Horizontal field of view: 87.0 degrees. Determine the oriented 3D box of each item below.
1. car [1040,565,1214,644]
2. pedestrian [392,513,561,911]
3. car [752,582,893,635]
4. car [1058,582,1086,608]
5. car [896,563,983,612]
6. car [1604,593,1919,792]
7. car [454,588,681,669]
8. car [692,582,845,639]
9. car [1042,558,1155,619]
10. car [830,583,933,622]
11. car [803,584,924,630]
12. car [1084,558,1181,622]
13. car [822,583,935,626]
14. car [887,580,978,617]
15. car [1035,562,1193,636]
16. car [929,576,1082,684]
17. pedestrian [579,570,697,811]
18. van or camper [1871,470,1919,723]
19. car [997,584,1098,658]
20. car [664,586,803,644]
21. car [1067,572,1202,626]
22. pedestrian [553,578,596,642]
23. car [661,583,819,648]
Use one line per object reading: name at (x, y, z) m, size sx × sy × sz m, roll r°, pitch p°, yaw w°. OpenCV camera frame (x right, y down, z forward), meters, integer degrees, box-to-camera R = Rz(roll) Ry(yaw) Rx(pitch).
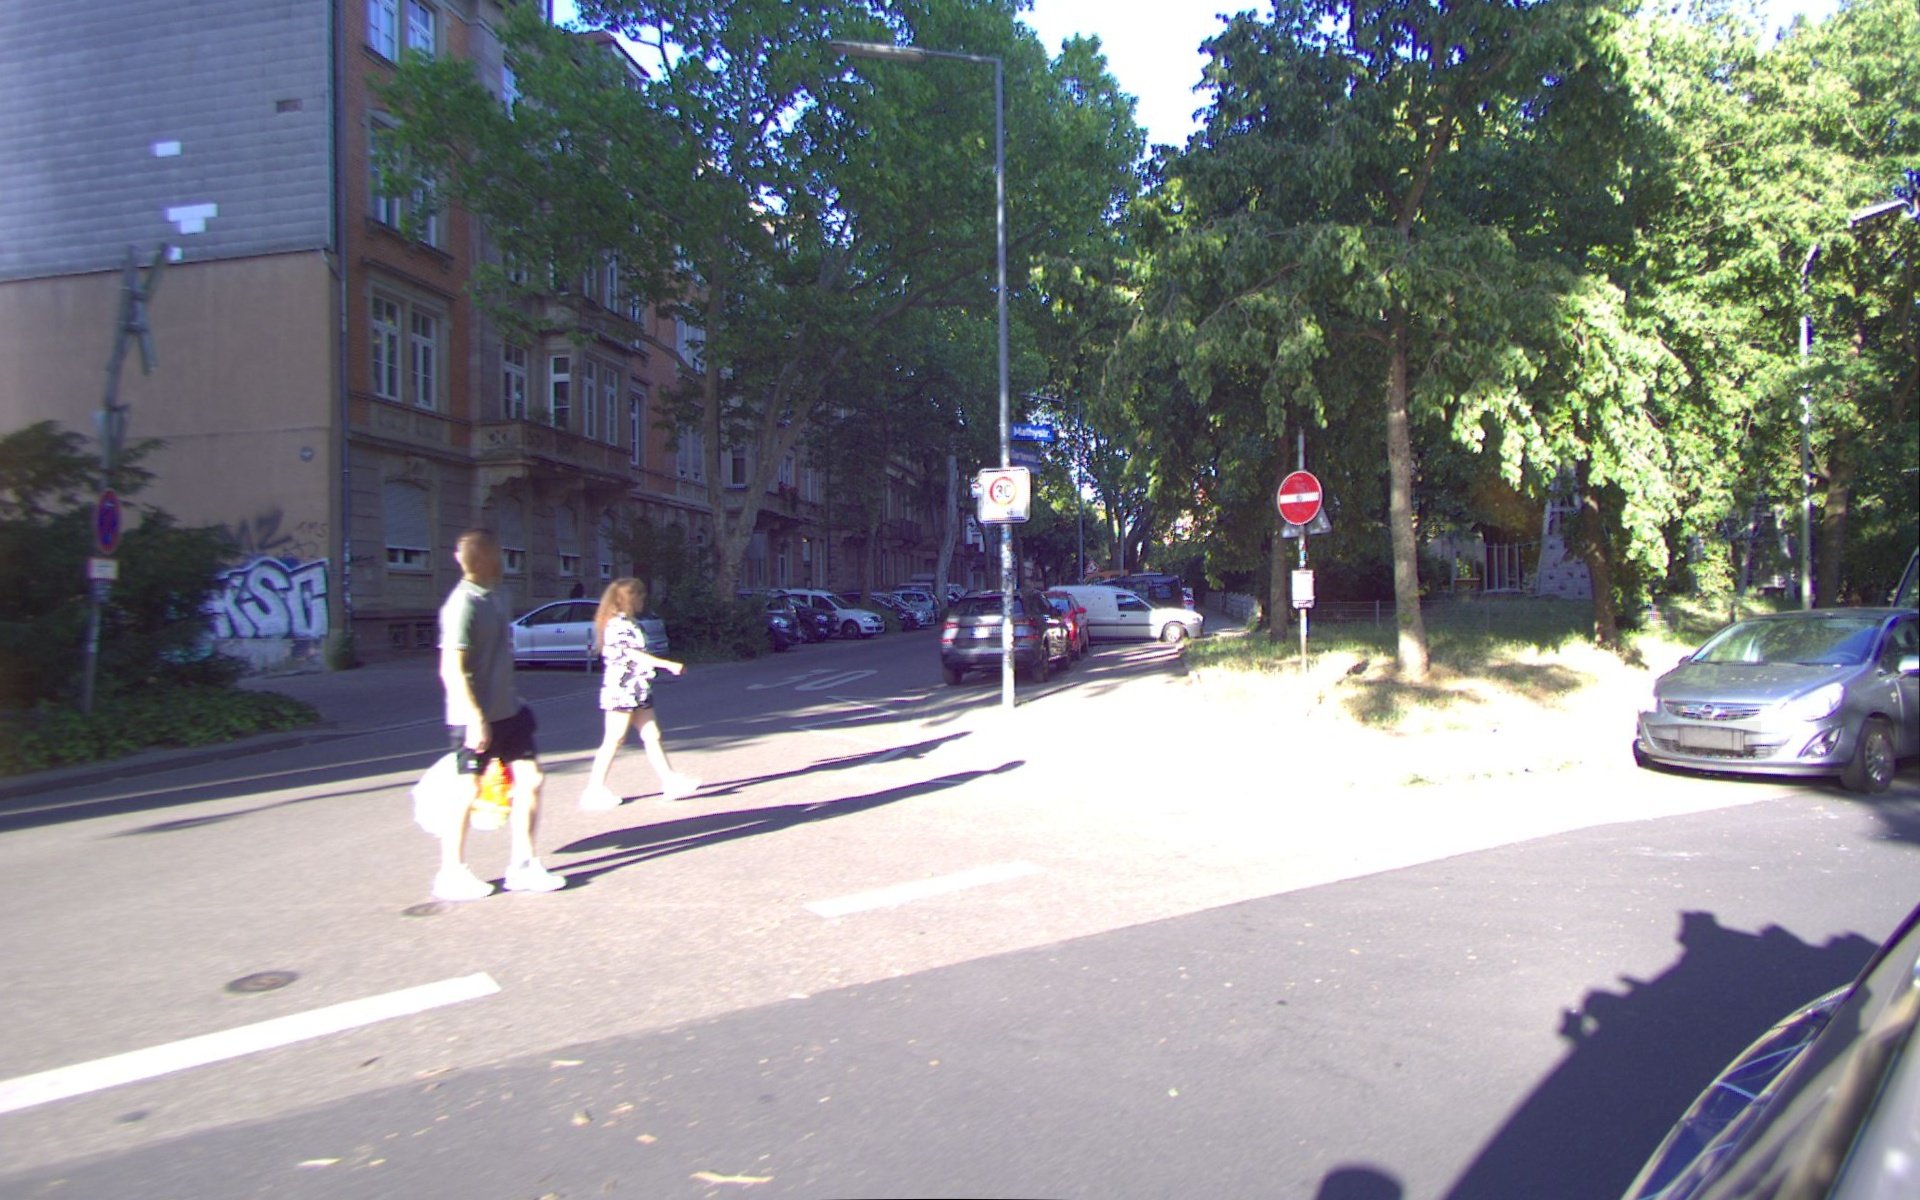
car at (4.464, 0.135, 26.932) m, size 4.337 × 1.729 × 1.726 m, roll -4°, pitch -1°, yaw 15°
pedestrian at (-2.431, 0.501, 5.107) m, size 0.702 × 1.804 × 0.816 m, roll 0°, pitch 0°, yaw -26°
car at (-4.600, 0.251, 33.887) m, size 4.428 × 1.651 × 1.723 m, roll 1°, pitch 0°, yaw 20°
car at (7.486, -0.338, 67.528) m, size 1.705 × 1.653 × 4.490 m, roll 1°, pitch 0°, yaw 8°
car at (-1.083, -0.695, 54.734) m, size 4.513 × 2.534 × 1.731 m, roll 1°, pitch 0°, yaw 7°
car at (7.868, 0.709, 9.169) m, size 3.793 × 1.465 × 1.687 m, roll -1°, pitch -2°, yaw -27°
car at (-7.890, 0.543, 20.525) m, size 3.931 × 1.491 × 1.731 m, roll 1°, pitch 0°, yaw 7°
car at (-5.936, 0.295, 31.603) m, size 4.407 × 1.651 × 1.731 m, roll 1°, pitch 0°, yaw 7°
car at (5.785, -0.457, 42.293) m, size 4.565 × 2.443 × 1.603 m, roll -1°, pitch 0°, yaw 10°
car at (-3.501, 0.113, 45.585) m, size 4.407 × 1.651 × 1.731 m, roll 1°, pitch 0°, yaw 7°
car at (-3.737, 0.260, 39.550) m, size 4.407 × 1.651 × 1.731 m, roll 1°, pitch 0°, yaw 7°
car at (8.408, -0.493, 49.637) m, size 4.565 × 3.004 × 1.603 m, roll -1°, pitch 0°, yaw 10°
car at (-3.352, 0.172, 42.054) m, size 4.407 × 1.651 × 1.732 m, roll 1°, pitch 1°, yaw 7°
car at (-1.389, -0.089, 52.274) m, size 4.513 × 1.788 × 1.731 m, roll 1°, pitch 0°, yaw 7°
car at (4.535, -0.006, 29.645) m, size 4.337 × 1.799 × 1.778 m, roll -4°, pitch -1°, yaw 15°
car at (0.932, 0.447, 17.672) m, size 1.717 × 1.571 × 4.257 m, roll -4°, pitch 0°, yaw 15°
pedestrian at (-2.355, 0.605, 7.358) m, size 0.702 × 1.628 × 0.816 m, roll 0°, pitch 0°, yaw -26°
van or camper at (13.399, -0.077, 12.064) m, size 5.728 × 2.797 × 2.092 m, roll -1°, pitch 0°, yaw -30°
car at (2.115, 0.400, 23.280) m, size 1.717 × 1.467 × 4.629 m, roll -2°, pitch 0°, yaw 12°
car at (-6.503, 0.413, 29.196) m, size 3.585 × 1.616 × 1.648 m, roll 0°, pitch 0°, yaw 6°
car at (5.978, -0.025, 34.598) m, size 4.337 × 1.511 × 1.778 m, roll -4°, pitch -1°, yaw 15°
pedestrian at (-9.914, 0.259, 26.068) m, size 0.800 × 1.628 × 0.715 m, roll -1°, pitch 0°, yaw 4°
car at (-5.758, 0.395, 26.760) m, size 3.711 × 1.638 × 1.906 m, roll -1°, pitch 0°, yaw 5°
